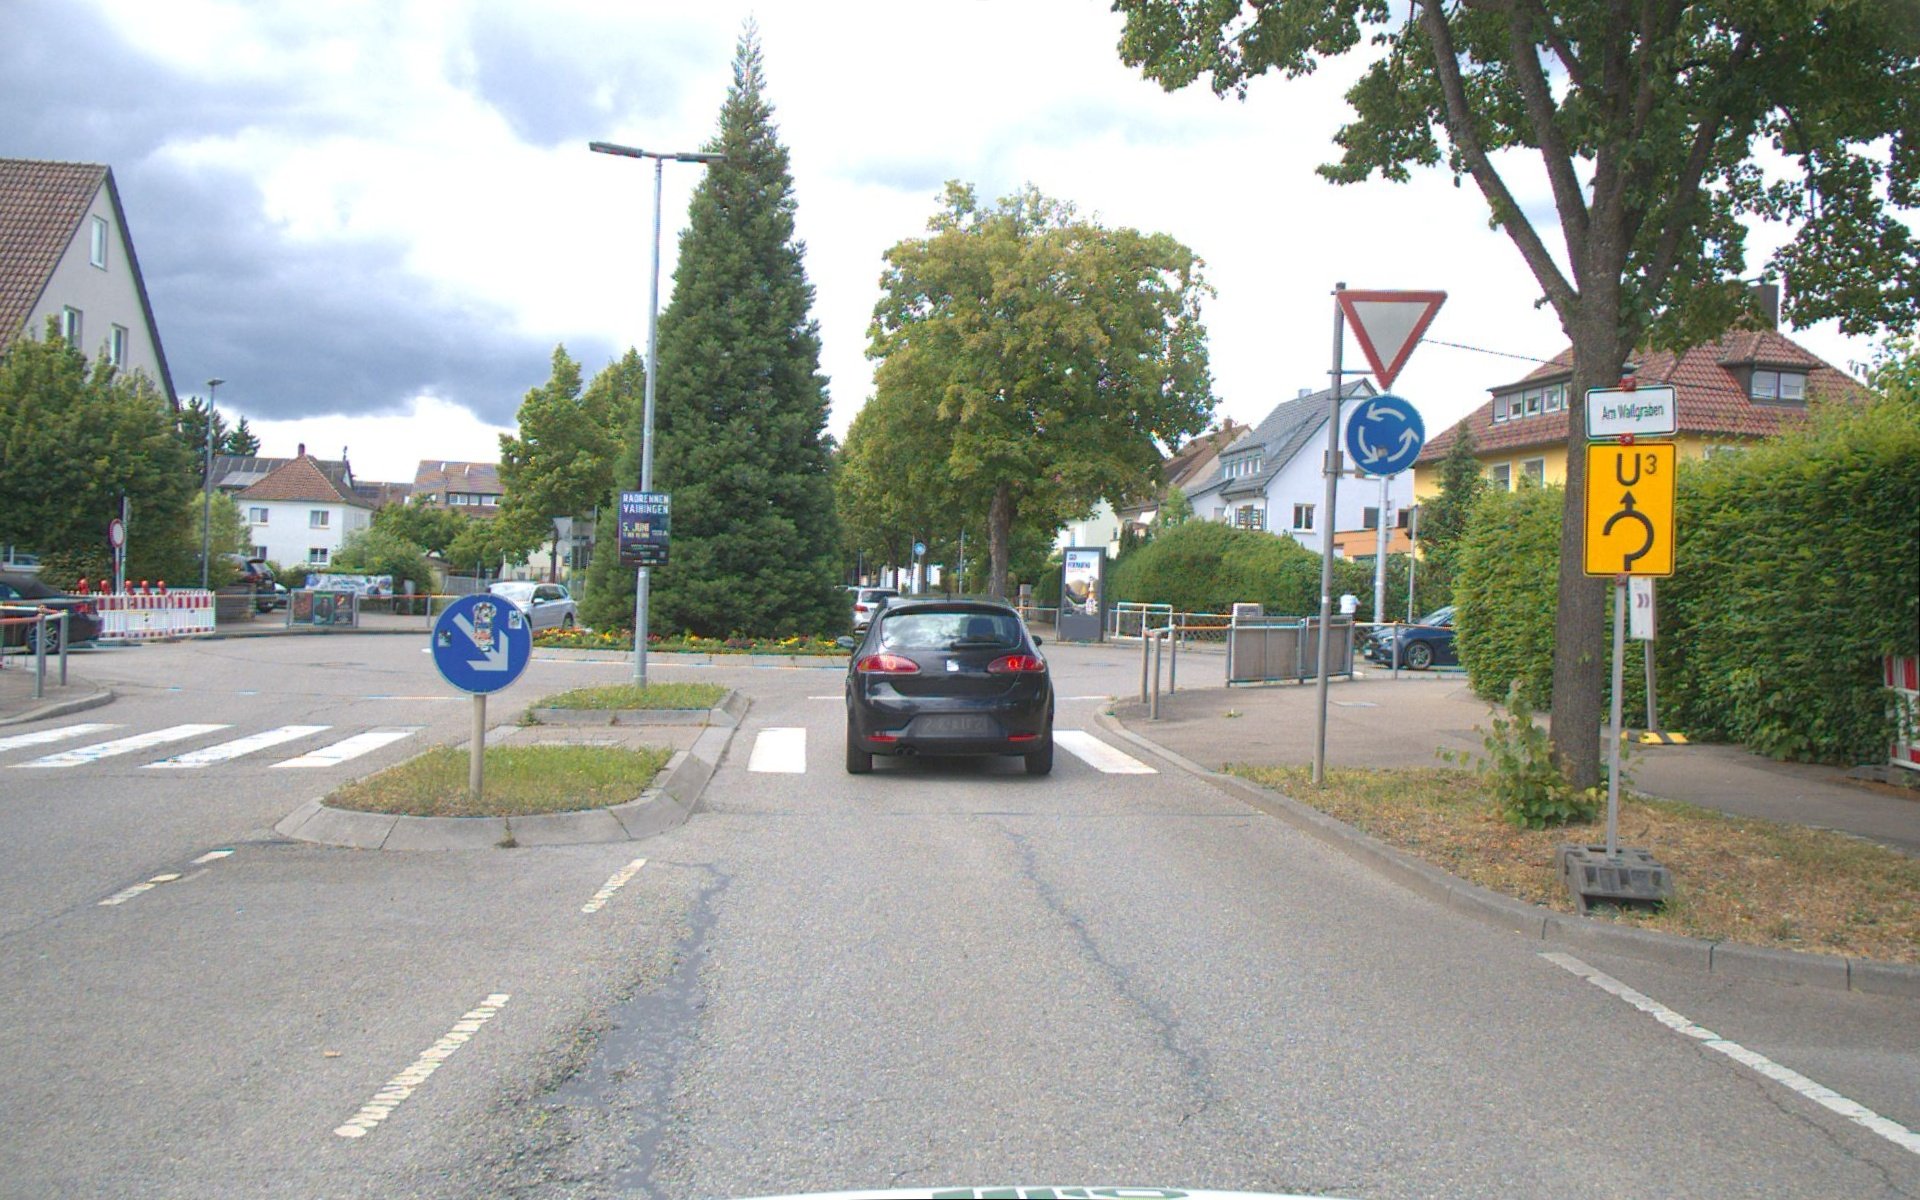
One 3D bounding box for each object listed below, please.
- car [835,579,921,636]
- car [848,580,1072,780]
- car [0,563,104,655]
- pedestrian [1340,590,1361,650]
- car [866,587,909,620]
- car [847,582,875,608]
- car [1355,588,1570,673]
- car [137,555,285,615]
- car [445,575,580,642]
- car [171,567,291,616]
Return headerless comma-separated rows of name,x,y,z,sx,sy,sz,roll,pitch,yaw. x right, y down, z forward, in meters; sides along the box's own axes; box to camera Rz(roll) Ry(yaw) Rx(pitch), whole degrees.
car,-2.623,0.208,52.026,1.959,1.641,3.986,2,0,-14
car,-0.041,0.605,14.730,1.697,1.512,3.999,1,0,-1
car,-17.778,0.142,30.341,3.575,1.662,1.556,1,0,-33
pedestrian,10.228,0.521,43.343,0.480,1.560,0.485,1,0,19
car,-3.541,0.136,80.166,1.449,1.515,3.370,1,0,-13
car,-6.069,-0.299,101.229,1.564,1.536,3.596,1,0,-6
car,11.325,0.673,37.440,4.310,1.690,1.649,2,0,-4
car,-21.526,-0.438,47.612,3.515,1.639,1.600,1,0,0
car,-11.297,0.200,42.076,1.829,1.588,4.263,1,0,7
car,-21.919,-0.265,49.786,2.979,1.406,1.339,1,0,0
